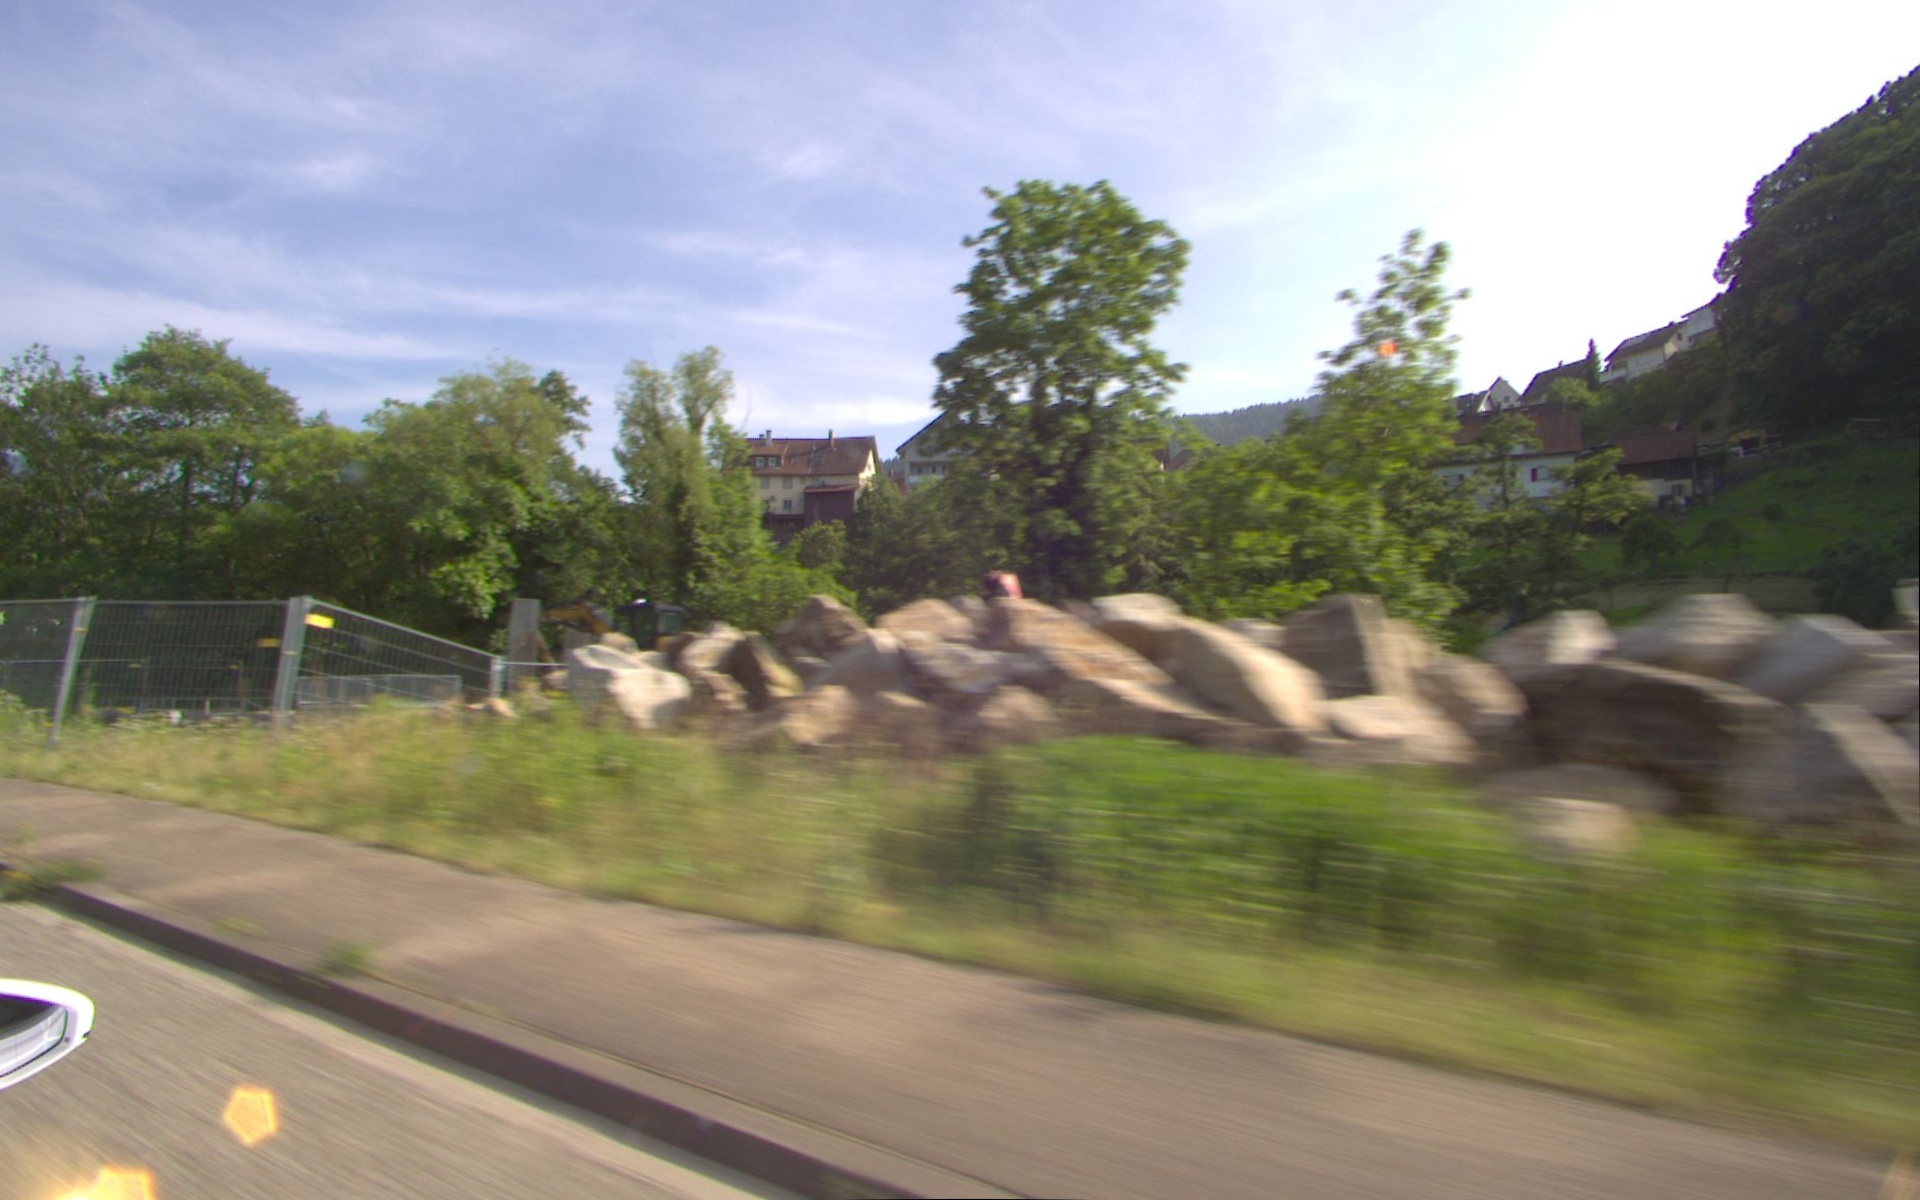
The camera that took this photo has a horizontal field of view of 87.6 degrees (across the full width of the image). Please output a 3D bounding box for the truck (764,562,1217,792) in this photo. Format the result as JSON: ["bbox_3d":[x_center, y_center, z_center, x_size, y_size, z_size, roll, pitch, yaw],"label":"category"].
[{"bbox_3d":[0.511,1.457,20.024,8.508,3.827,3.105,-1,-4,27],"label":"truck"}]

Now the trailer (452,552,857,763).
[{"bbox_3d":[-7.533,1.416,24.305,9.754,4.325,3.367,-2,-4,27],"label":"trailer"}]

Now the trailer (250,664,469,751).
[{"bbox_3d":[-14.074,2.449,23.452,4.714,1.844,2.057,-1,-4,25],"label":"trailer"}]

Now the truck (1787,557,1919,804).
[{"bbox_3d":[18.158,1.278,15.063,8.531,3.827,3.097,-2,-5,36],"label":"truck"}]

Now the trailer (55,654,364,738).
[{"bbox_3d":[-21.381,2.591,28.191,11.324,2.037,2.390,-2,-5,28],"label":"trailer"}]
